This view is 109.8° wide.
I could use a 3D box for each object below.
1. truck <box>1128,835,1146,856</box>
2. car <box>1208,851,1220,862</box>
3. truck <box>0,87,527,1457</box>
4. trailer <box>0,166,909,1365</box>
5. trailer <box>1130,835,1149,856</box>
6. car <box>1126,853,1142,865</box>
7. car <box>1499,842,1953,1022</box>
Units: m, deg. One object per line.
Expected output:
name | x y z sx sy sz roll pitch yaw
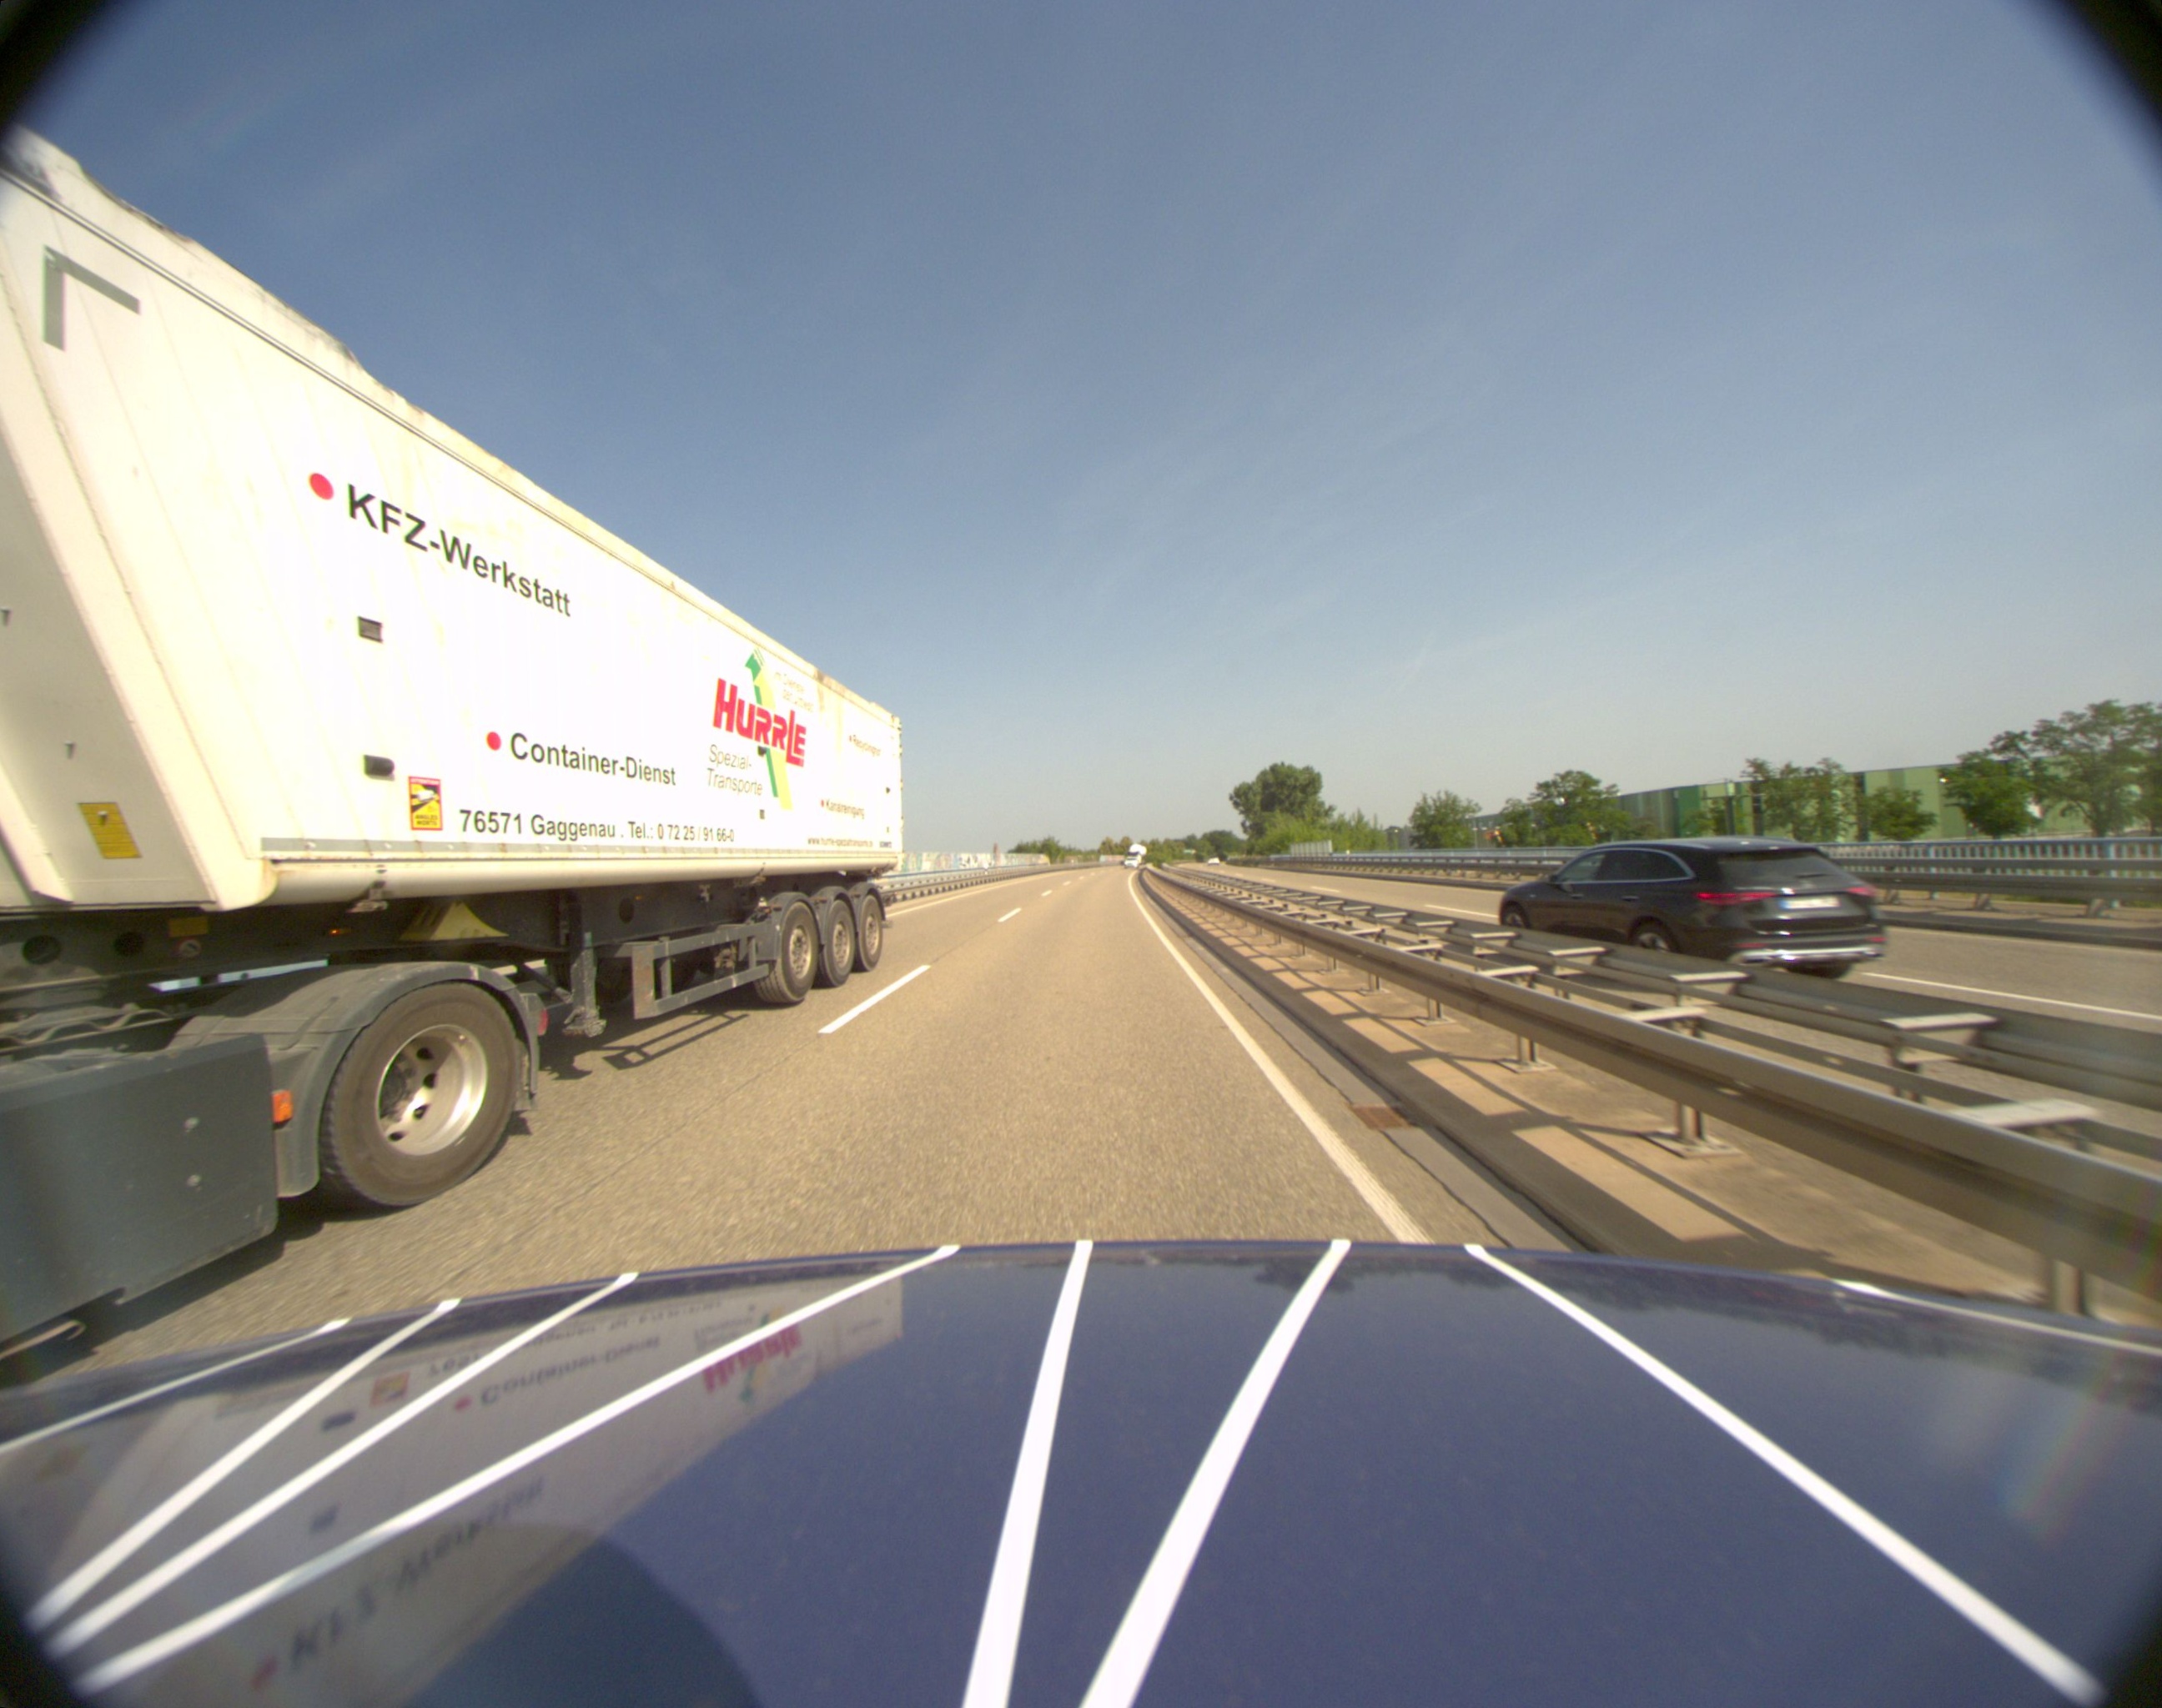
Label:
truck | 10.773 -1.664 145.353 2.777 3.938 5.631 -2 1 10
car | 20.914 0.393 119.520 1.651 1.493 4.002 -3 0 6
truck | -4.400 -0.218 1.195 2.665 3.874 5.647 -2 1 1
trailer | -4.270 -0.232 7.328 2.686 3.884 9.673 -2 0 1
trailer | 11.658 -1.708 150.619 2.761 3.968 8.192 -2 0 10
car | 7.066 0.700 100.746 1.788 1.427 4.002 -3 0 9
car | 7.260 0.725 9.335 1.869 1.598 4.418 -3 0 2
